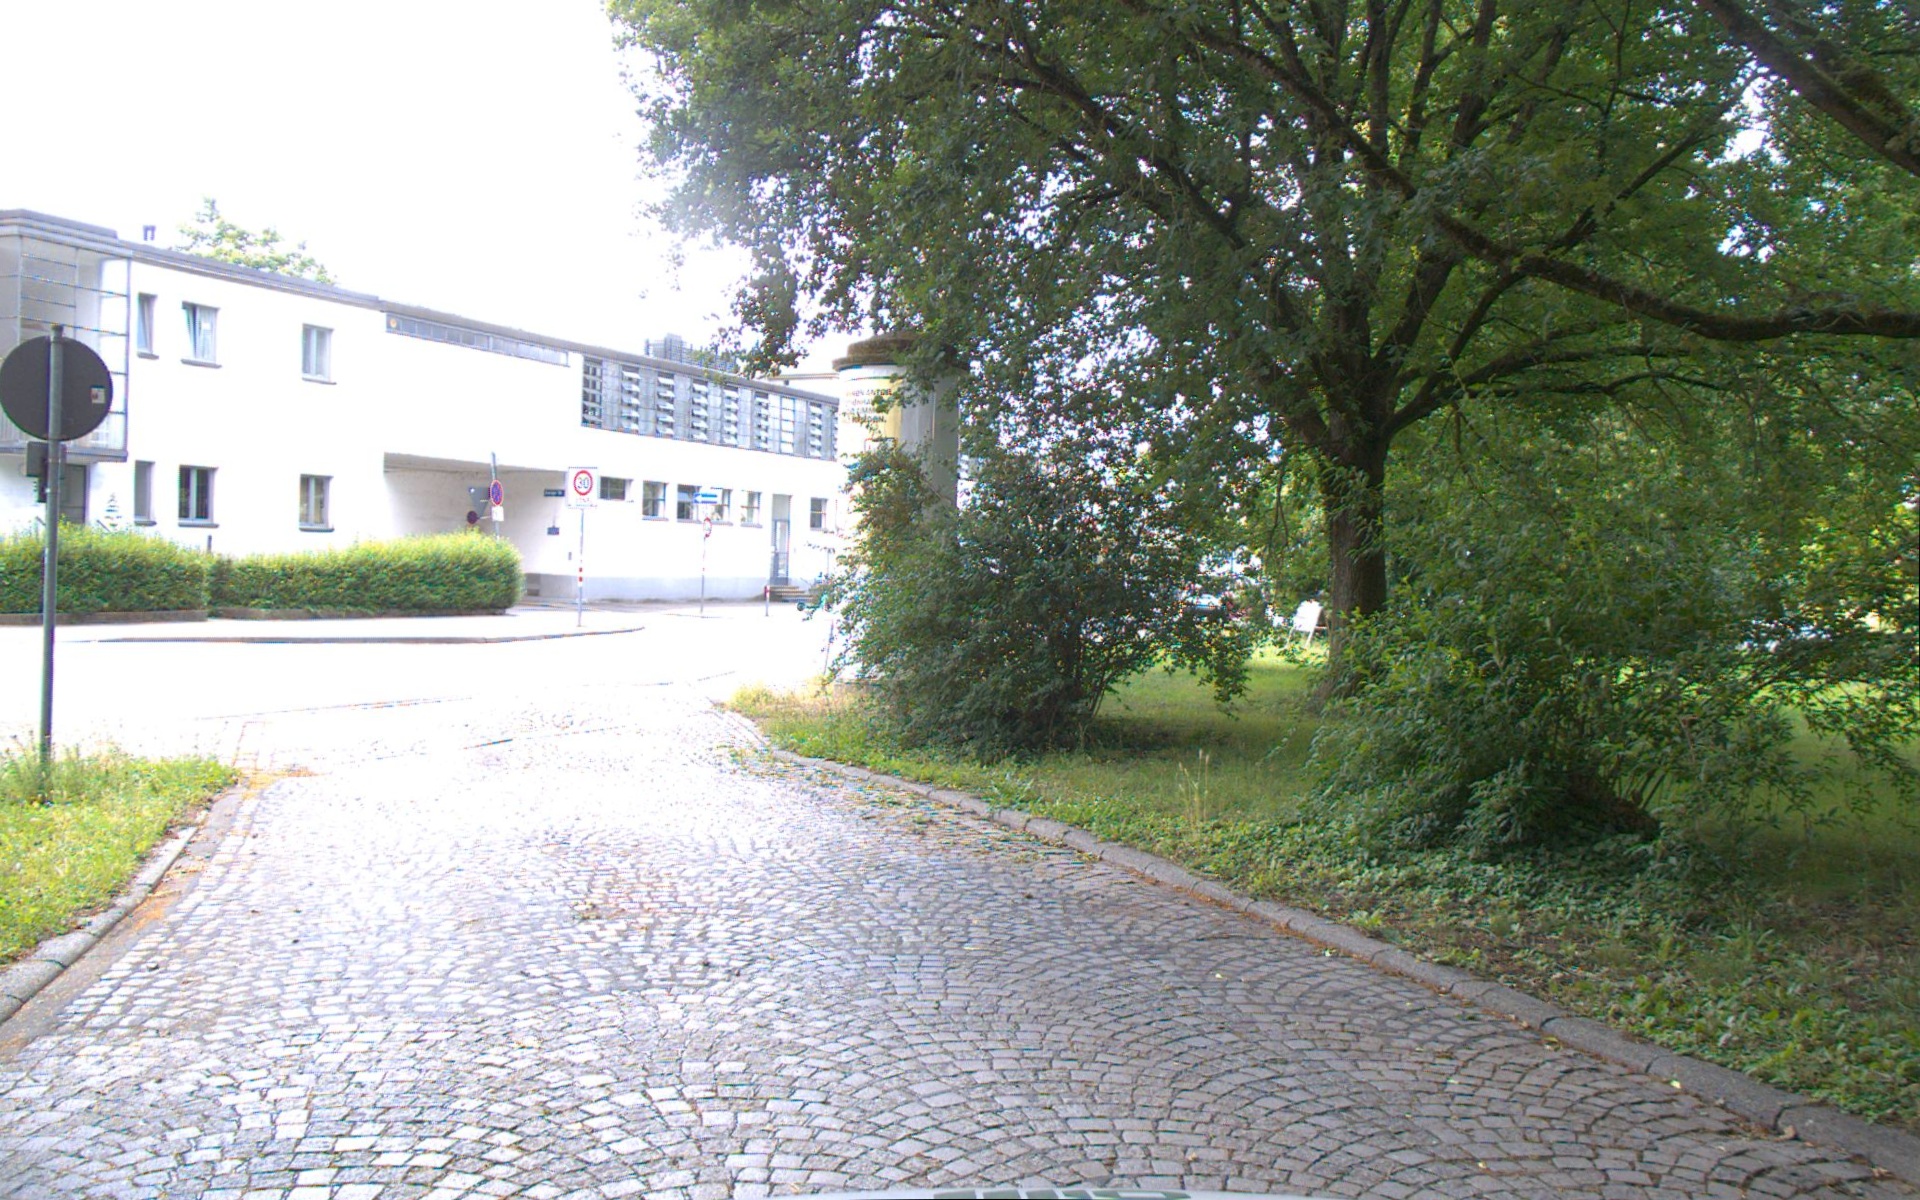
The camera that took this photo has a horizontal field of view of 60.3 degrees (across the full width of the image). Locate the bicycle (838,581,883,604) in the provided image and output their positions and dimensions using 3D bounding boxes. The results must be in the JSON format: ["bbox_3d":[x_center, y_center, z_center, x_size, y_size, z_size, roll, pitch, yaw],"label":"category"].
[{"bbox_3d":[-3.739,-0.295,62.447,1.636,0.770,0.570,3,1,-1],"label":"bicycle"}]

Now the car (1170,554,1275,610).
[{"bbox_3d":[8.890,-0.611,55.752,1.945,1.713,4.565,4,2,30],"label":"car"}]
